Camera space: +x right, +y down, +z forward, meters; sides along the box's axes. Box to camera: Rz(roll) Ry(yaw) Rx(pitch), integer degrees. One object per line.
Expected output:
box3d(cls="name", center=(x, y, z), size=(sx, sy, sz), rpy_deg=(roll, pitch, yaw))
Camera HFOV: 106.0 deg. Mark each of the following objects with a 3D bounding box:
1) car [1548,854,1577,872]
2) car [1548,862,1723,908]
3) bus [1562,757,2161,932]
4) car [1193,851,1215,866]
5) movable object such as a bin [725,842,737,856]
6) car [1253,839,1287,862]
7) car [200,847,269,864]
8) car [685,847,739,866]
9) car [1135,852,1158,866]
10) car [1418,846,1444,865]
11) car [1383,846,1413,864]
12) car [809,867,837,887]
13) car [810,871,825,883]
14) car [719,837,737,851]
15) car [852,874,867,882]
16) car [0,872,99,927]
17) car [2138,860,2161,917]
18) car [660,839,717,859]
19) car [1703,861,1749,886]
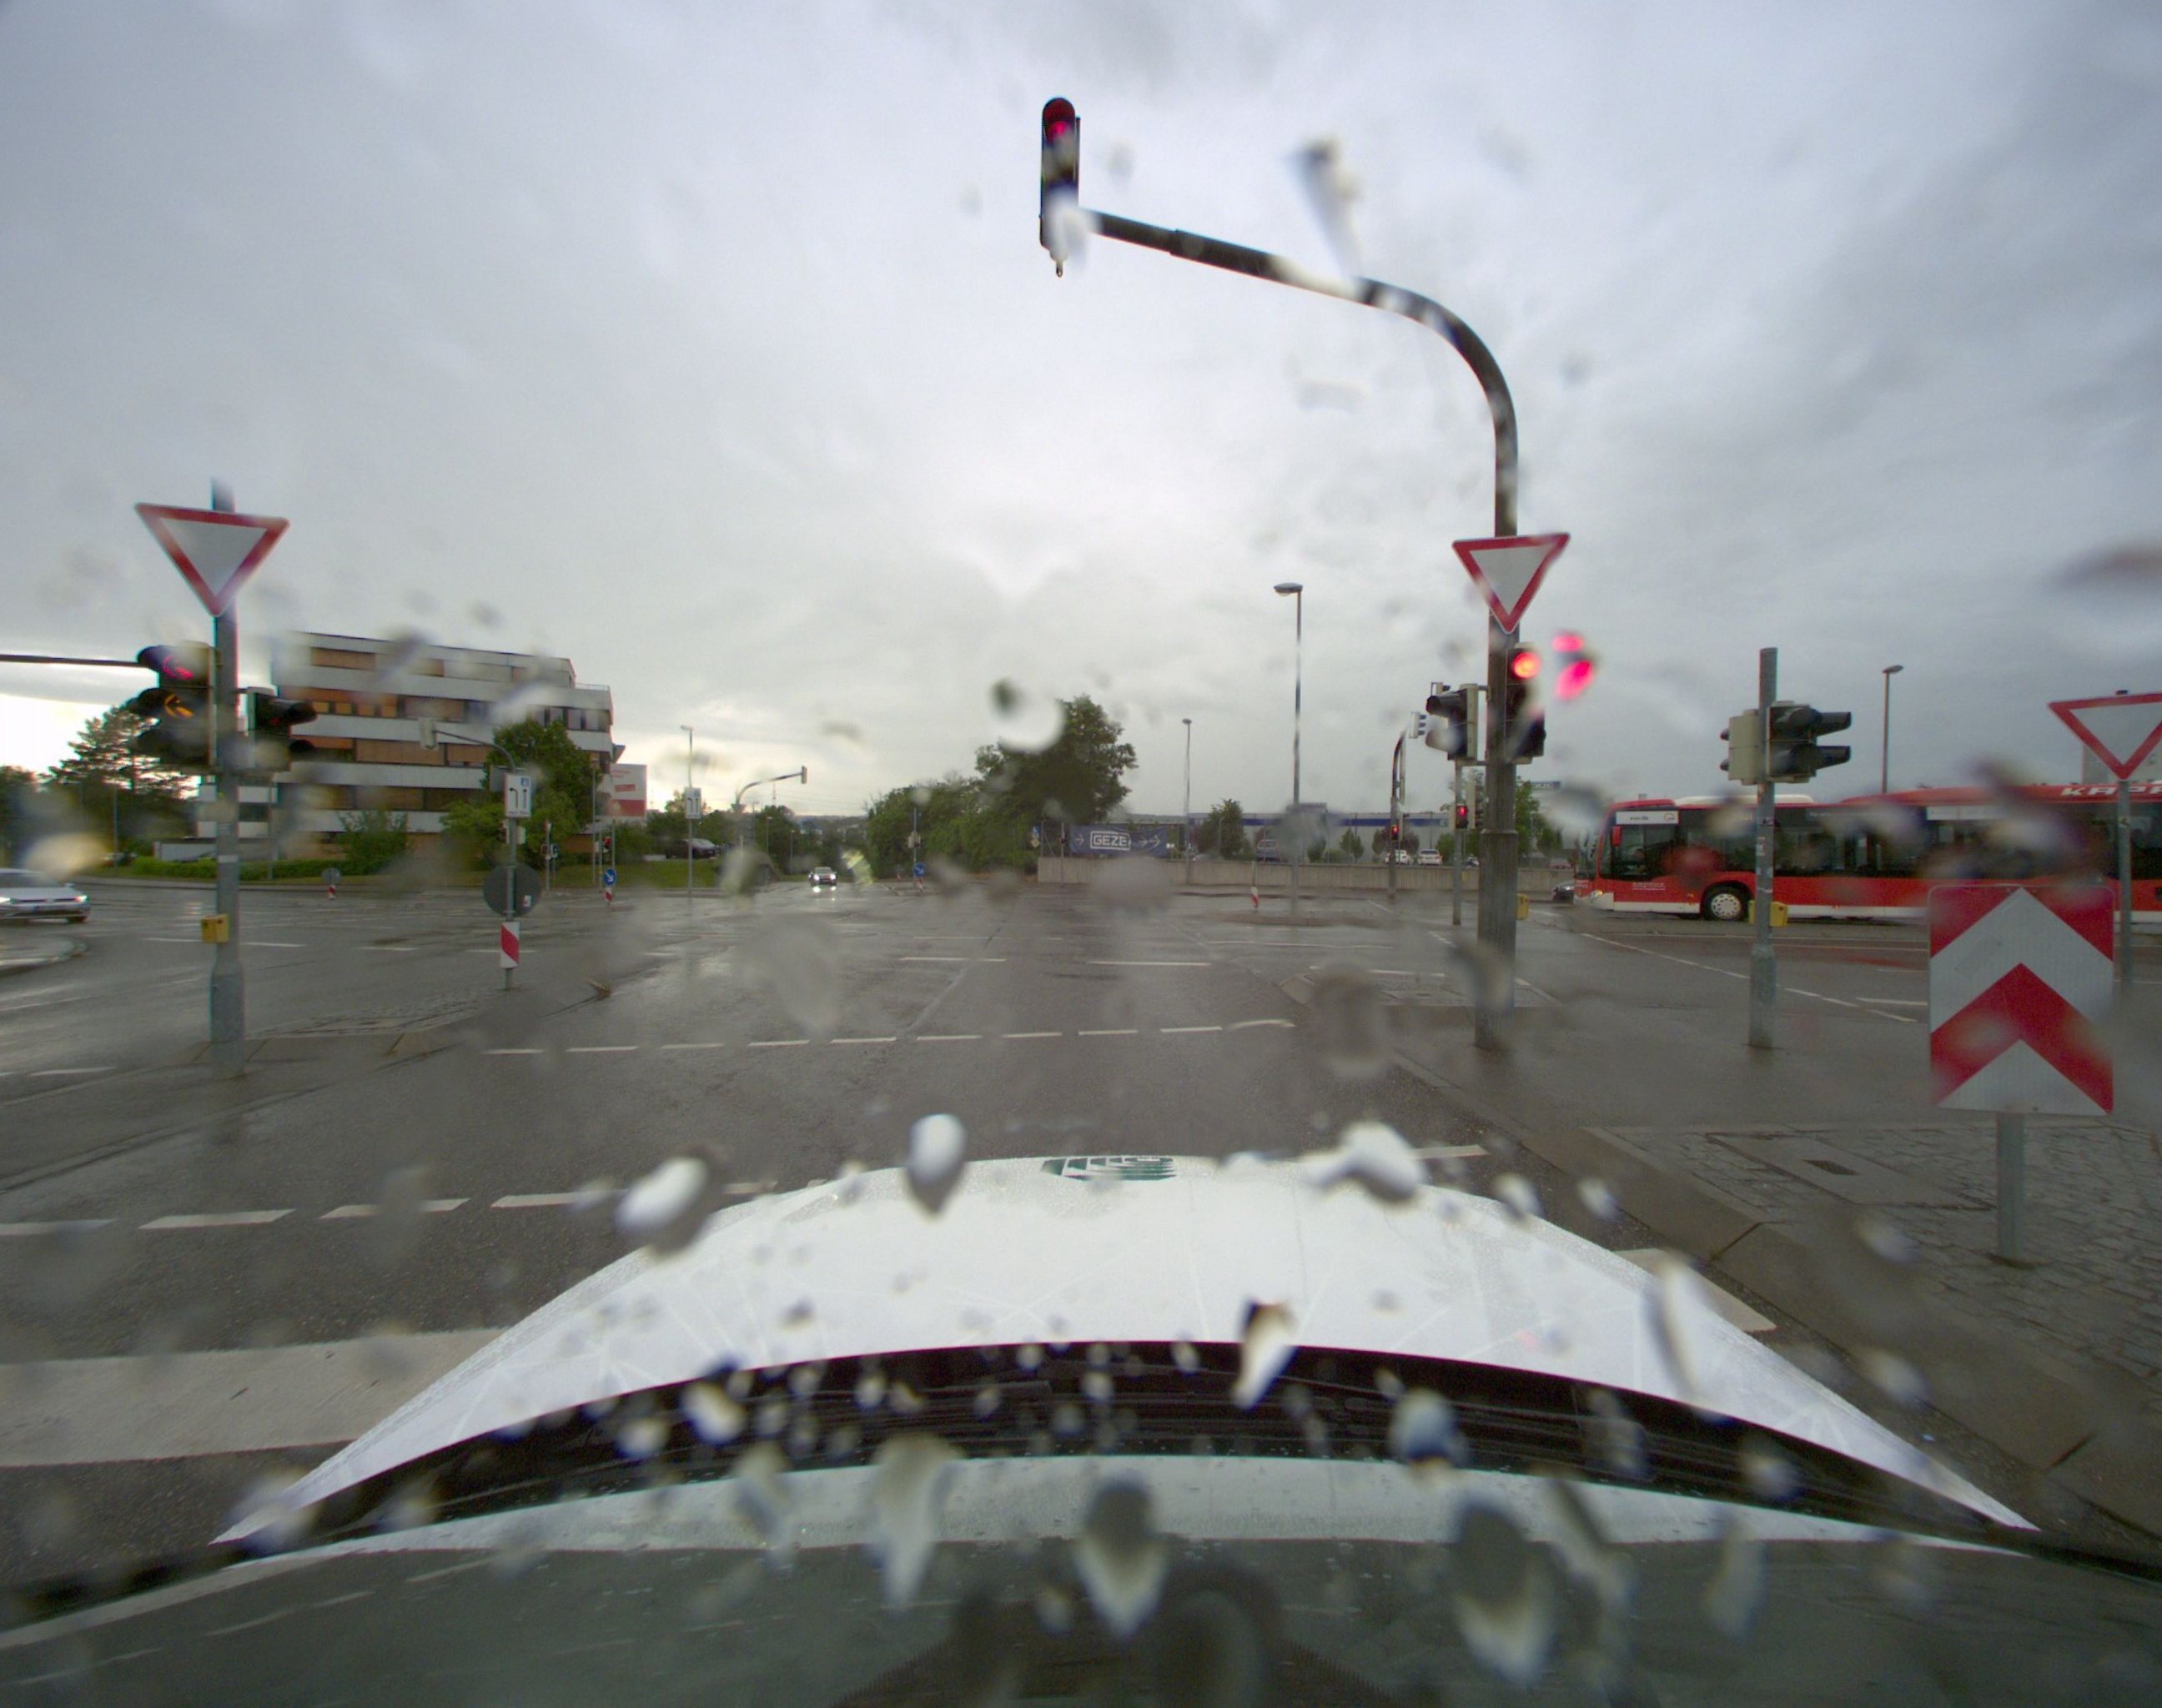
box3d(cls="car", center=(42.903, 0.774, 72.668), size=(1.905, 1.589, 3.811), rpy_deg=(0, 0, 25))
box3d(cls="car", center=(17.638, 0.942, 26.150), size=(4.344, 1.354, 1.834), rpy_deg=(0, 0, 18))
box3d(cls="bus", center=(18.697, -0.298, 19.311), size=(12.152, 3.576, 3.001), rpy_deg=(2, 0, 19))
box3d(cls="car", center=(13.945, 0.517, 92.456), size=(1.651, 1.606, 3.550), rpy_deg=(-1, -1, 23))
box3d(cls="movable object such as a bin", center=(-37.765, -0.517, 87.890), size=(1.089, 1.437, 1.434), rpy_deg=(1, -3, -25))
box3d(cls="car", center=(13.350, -0.236, 57.293), size=(1.727, 1.553, 3.550), rpy_deg=(-1, -1, 23))
box3d(cls="car", center=(-69.873, 0.114, 67.286), size=(3.779, 1.399, 1.977), rpy_deg=(0, 0, -40))
box3d(cls="car", center=(-32.676, 0.205, 72.155), size=(3.958, 1.586, 1.909), rpy_deg=(0, -2, 14))
box3d(cls="car", center=(7.761, 0.591, 95.909), size=(1.651, 1.606, 3.550), rpy_deg=(-1, -1, 23))
box3d(cls="car", center=(28.897, 0.141, 67.204), size=(1.841, 1.526, 4.127), rpy_deg=(-1, -1, 25))
box3d(cls="car", center=(26.469, 0.119, 67.894), size=(1.800, 1.434, 4.128), rpy_deg=(-1, -1, 28))
box3d(cls="car", center=(-20.102, 1.796, 63.317), size=(1.668, 1.494, 3.969), rpy_deg=(0, -1, -23))
box3d(cls="car", center=(-34.430, 2.954, 106.515), size=(1.723, 1.494, 3.978), rpy_deg=(0, -1, -16))
box3d(cls="car", center=(-42.104, -1.120, 96.994), size=(1.836, 1.442, 3.967), rpy_deg=(1, -2, -25))
box3d(cls="car", center=(-43.056, 4.618, 158.661), size=(1.893, 1.456, 3.998), rpy_deg=(0, 0, -1))
box3d(cls="car", center=(-28.828, 1.171, 21.836), size=(4.479, 1.363, 1.771), rpy_deg=(-1, -1, 20))
box3d(cls="car", center=(31.680, 0.955, 21.496), size=(4.344, 1.538, 1.834), rpy_deg=(0, 0, 18))
box3d(cls="car", center=(-33.431, -0.429, 69.355), size=(3.962, 1.586, 1.907), rpy_deg=(0, -2, 10))
box3d(cls="car", center=(53.071, 1.580, 67.104), size=(1.976, 2.014, 4.022), rpy_deg=(-1, -1, 24))
